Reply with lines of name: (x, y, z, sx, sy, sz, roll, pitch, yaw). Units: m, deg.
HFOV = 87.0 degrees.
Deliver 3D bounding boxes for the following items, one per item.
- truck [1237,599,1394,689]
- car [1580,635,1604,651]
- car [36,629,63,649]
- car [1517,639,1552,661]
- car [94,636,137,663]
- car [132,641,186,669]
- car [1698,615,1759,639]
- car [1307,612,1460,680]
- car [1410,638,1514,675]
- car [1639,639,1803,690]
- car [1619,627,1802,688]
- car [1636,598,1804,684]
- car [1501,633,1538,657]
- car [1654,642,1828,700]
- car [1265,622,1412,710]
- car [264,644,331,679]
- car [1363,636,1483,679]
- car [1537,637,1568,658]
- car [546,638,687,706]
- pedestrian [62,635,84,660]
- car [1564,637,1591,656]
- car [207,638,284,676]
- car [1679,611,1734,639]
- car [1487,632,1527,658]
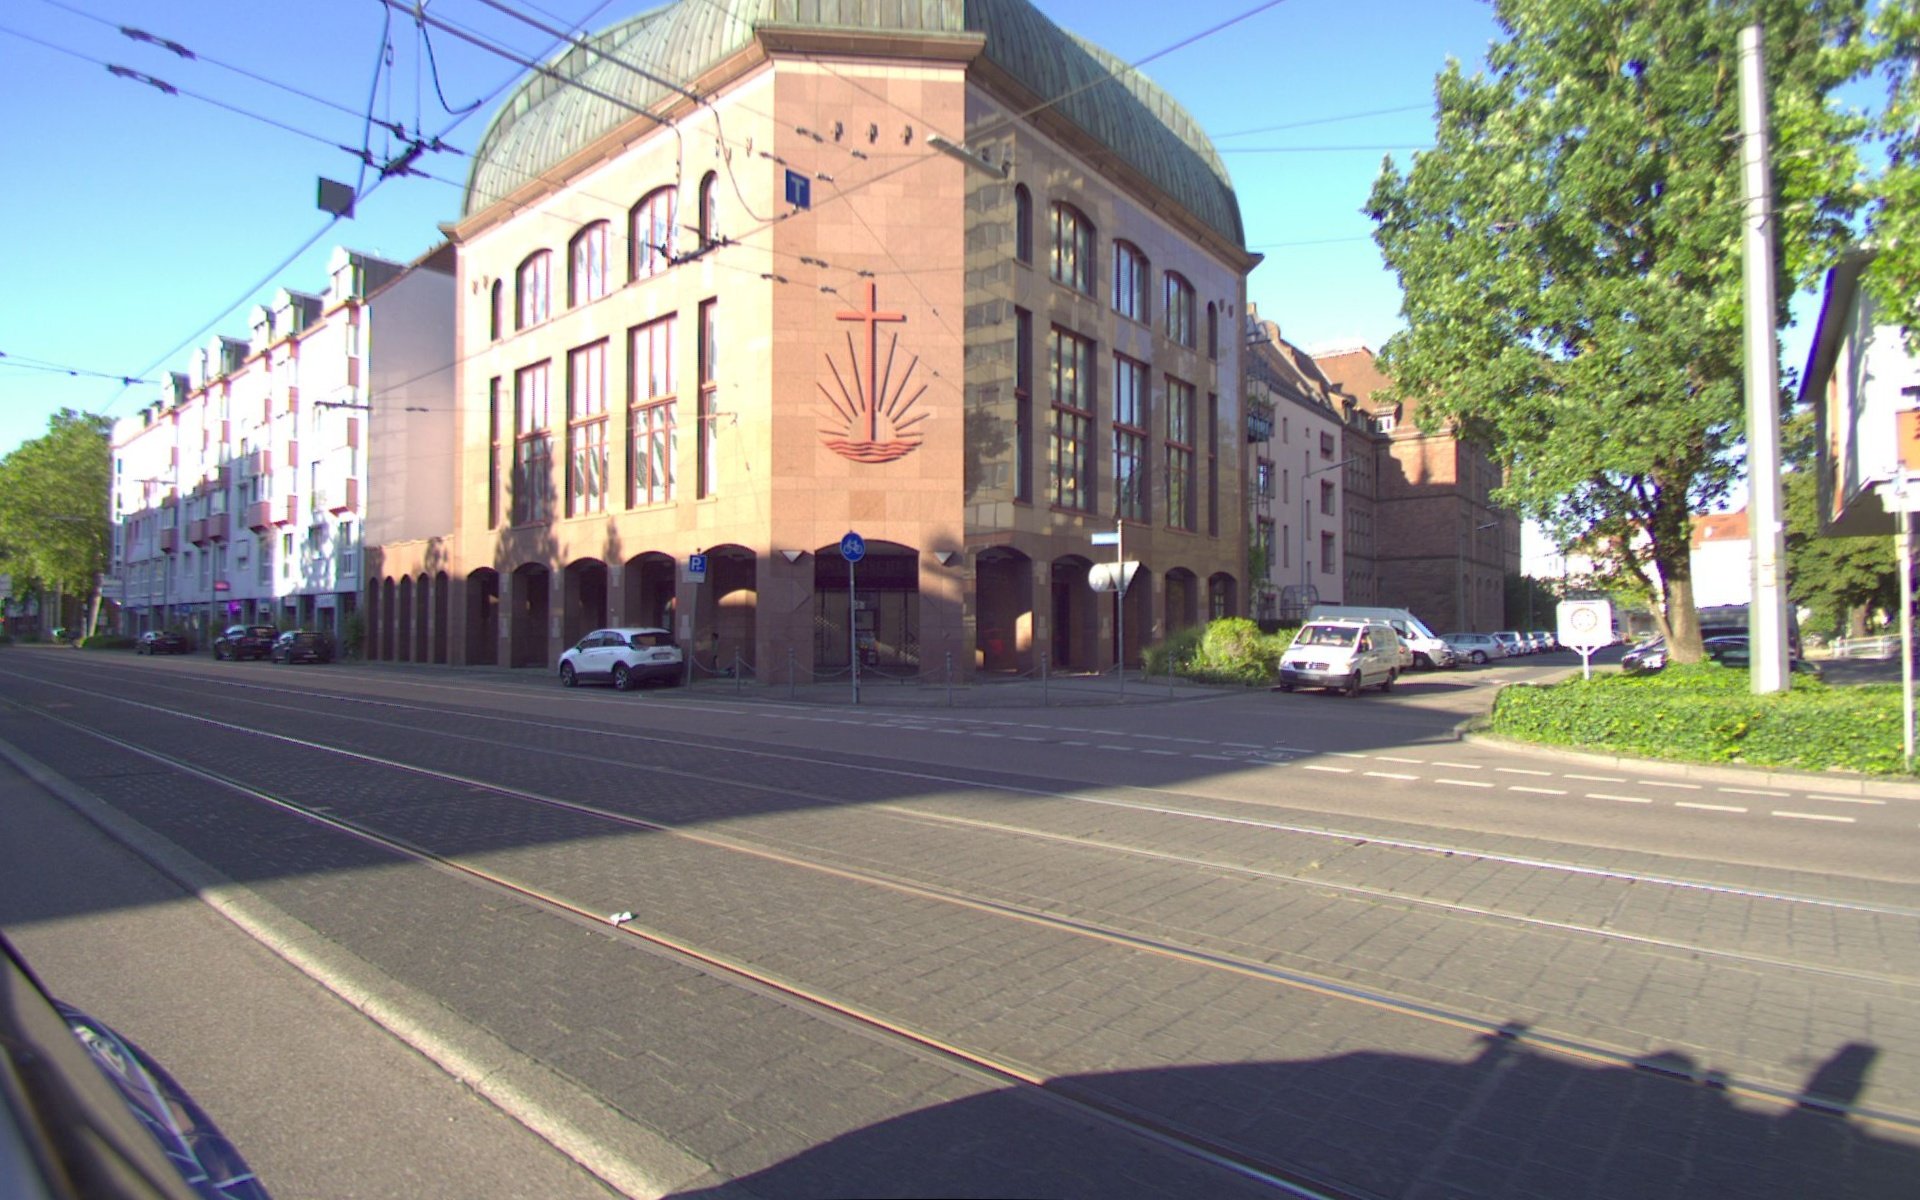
truck: (11.658, 1.406, 33.330, 4.523, 2.784, 1.833, -1, -2, 37)
car: (63.367, 4.311, 101.456, 1.851, 1.555, 3.980, -1, -2, 34)
car: (-77.815, 3.346, 86.512, 2.881, 1.686, 1.365, -2, -3, 42)
car: (41.656, 3.598, 73.335, 1.851, 1.555, 3.980, -1, -2, 34)
car: (-60.560, 3.532, 72.537, 4.385, 1.811, 1.905, -2, -2, 44)
car: (-49.029, 3.322, 61.894, 4.559, 1.520, 1.805, -1, -1, 41)
car: (96.022, 3.343, 126.576, 6.042, 2.865, 2.541, 0, -2, 38)
car: (17.032, 1.826, 40.885, 5.408, 2.562, 1.832, -2, -2, 39)
car: (24.221, 2.711, 48.901, 4.286, 1.685, 1.834, -1, -2, 35)
car: (26.400, 2.198, 35.208, 4.459, 1.590, 2.025, -1, -2, 40)
car: (27.498, 2.041, 37.218, 5.268, 2.061, 2.025, -1, -2, 40)
car: (32.262, 1.647, 43.064, 5.629, 3.437, 2.114, 0, -2, 40)
car: (38.155, 3.037, 69.022, 1.851, 1.555, 3.980, -1, -2, 34)
car: (23.892, 2.129, 31.074, 4.098, 1.590, 2.011, -1, -2, 40)
car: (10.051, 1.632, 26.616, 2.130, 1.982, 4.930, 2, 0, 39)
car: (-29.466, 2.714, 44.986, 3.682, 1.411, 1.624, -1, -1, 42)
car: (19.615, 2.400, 42.973, 4.292, 1.685, 1.832, -2, -2, 39)
car: (47.495, 3.780, 81.131, 1.851, 1.555, 3.980, -1, -2, 34)
car: (-9.336, 1.887, 27.331, 4.273, 1.602, 1.579, -1, 0, 39)
pedestrian: (-63.913, 3.426, 72.930, 1.081, 1.792, 1.253, 3, -3, -44)
car: (54.210, 4.037, 88.808, 1.851, 1.555, 3.980, -1, -2, 34)
car: (-34.783, 2.725, 49.251, 4.556, 1.713, 1.939, -1, -1, 40)
car: (95.931, 3.214, 130.048, 5.624, 3.381, 2.404, 0, -2, 38)
car: (34.842, 2.816, 64.369, 1.851, 1.555, 3.980, -1, -2, 34)
